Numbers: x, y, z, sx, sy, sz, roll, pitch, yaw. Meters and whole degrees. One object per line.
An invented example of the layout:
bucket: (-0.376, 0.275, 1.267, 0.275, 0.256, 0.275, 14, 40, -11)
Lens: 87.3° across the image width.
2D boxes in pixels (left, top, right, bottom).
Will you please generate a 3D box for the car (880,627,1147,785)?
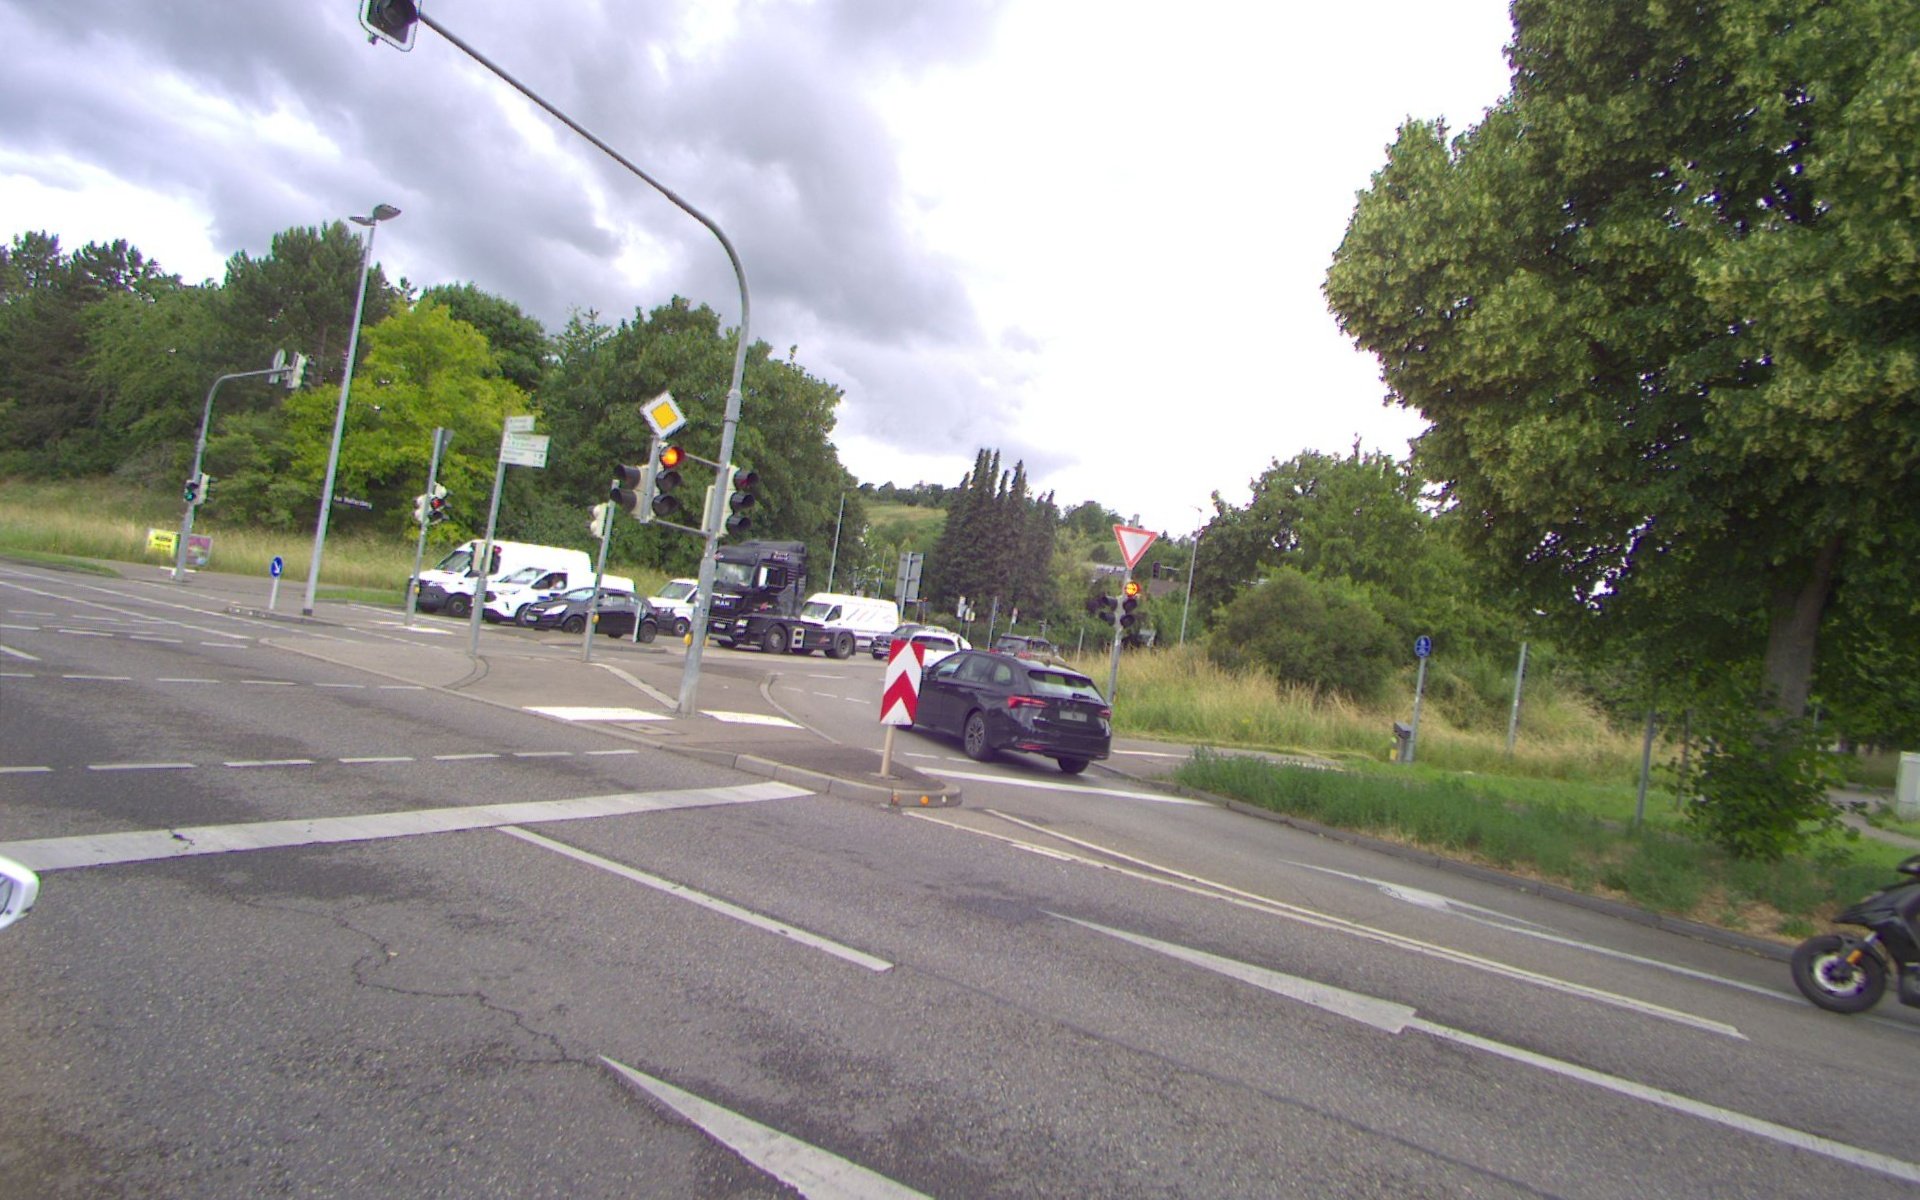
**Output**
car: (0.568, 1.428, 14.713, 1.766, 1.464, 4.496, 8, 0, -27)

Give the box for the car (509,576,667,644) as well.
car: (-10.603, 0.335, 28.927, 1.703, 1.453, 3.927, 7, -1, 31)

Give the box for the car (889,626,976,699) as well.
car: (-0.641, 1.565, 26.426, 1.753, 1.460, 3.835, 9, 0, 3)

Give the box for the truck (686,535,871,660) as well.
truck: (-6.209, 0.023, 35.338, 2.682, 3.580, 6.061, 7, -1, 32)

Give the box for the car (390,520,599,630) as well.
car: (-15.334, -0.737, 33.595, 2.100, 2.814, 5.903, 7, -1, 32)

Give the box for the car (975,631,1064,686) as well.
car: (2.319, 2.244, 37.714, 1.754, 1.668, 4.427, 8, -2, 23)

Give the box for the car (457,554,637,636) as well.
car: (-12.931, -0.095, 31.814, 1.999, 1.918, 4.862, 7, -1, 31)

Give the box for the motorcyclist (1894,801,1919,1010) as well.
motorcyclist: (6.277, 1.759, 5.954, 0.920, 1.506, 0.748, 8, -2, 42)

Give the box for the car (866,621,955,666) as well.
car: (-2.020, 1.841, 42.131, 1.703, 1.453, 3.927, 7, -1, 31)

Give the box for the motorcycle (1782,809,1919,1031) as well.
motorcycle: (6.203, 2.041, 5.977, 1.916, 1.159, 0.748, 8, -3, 42)

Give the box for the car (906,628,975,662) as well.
car: (-1.039, 2.487, 54.914, 1.704, 1.453, 3.925, 7, -1, 33)

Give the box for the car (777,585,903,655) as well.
car: (-5.663, 1.051, 48.617, 2.160, 2.640, 6.509, 7, -1, 32)

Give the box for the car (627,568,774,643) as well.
car: (-10.423, 0.289, 40.903, 2.100, 2.316, 5.709, 7, -1, 32)
